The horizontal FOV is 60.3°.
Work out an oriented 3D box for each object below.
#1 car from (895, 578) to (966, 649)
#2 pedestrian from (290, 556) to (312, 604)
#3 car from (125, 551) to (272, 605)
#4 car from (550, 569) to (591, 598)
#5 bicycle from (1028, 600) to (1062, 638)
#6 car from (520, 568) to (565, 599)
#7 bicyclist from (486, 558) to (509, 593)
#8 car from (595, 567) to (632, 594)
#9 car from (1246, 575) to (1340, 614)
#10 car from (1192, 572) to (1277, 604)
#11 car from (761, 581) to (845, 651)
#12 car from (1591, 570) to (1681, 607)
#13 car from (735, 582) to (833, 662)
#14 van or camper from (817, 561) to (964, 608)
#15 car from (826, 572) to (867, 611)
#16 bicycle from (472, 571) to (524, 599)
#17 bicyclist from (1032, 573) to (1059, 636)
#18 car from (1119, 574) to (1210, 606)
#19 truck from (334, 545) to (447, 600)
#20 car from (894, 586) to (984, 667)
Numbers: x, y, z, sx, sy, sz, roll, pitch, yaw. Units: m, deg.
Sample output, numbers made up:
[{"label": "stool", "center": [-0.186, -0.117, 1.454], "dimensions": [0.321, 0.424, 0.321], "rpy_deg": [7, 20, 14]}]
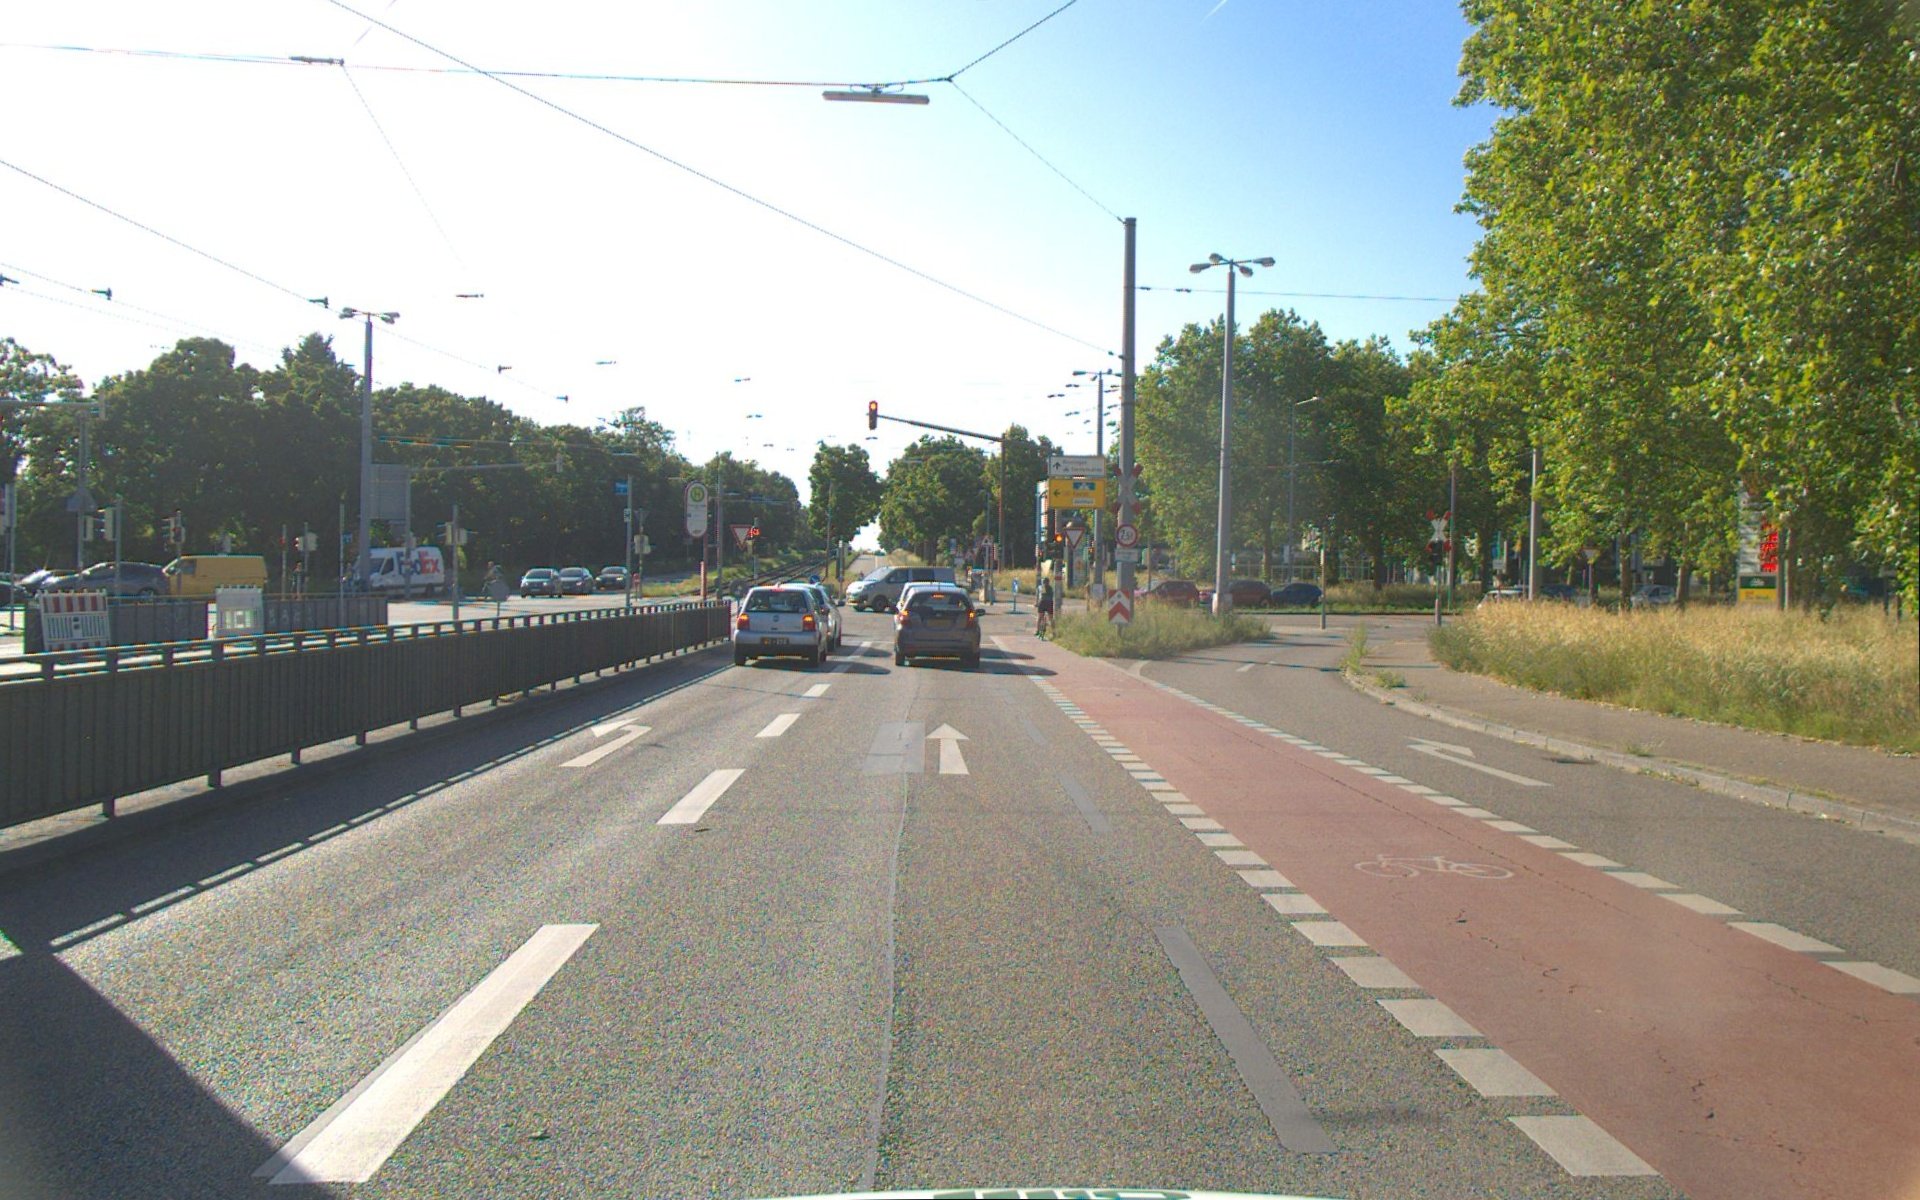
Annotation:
[{"label": "car", "center": [-0.706, 0.282, 39.605], "dimensions": [1.578, 1.589, 4.287], "rpy_deg": [1, 1, -1]}, {"label": "pedestrian", "center": [-28.301, -0.873, 71.035], "dimensions": [0.735, 2.049, 0.789], "rpy_deg": [0, 1, -13]}, {"label": "car", "center": [-29.848, -0.848, 64.837], "dimensions": [5.096, 1.912, 1.982], "rpy_deg": [2, 0, -28]}, {"label": "car", "center": [-21.939, -0.938, 93.290], "dimensions": [1.797, 1.575, 4.278], "rpy_deg": [1, 1, -7]}, {"label": "bicycle", "center": [2.402, 0.527, 46.892], "dimensions": [0.707, 1.006, 2.875], "rpy_deg": [2, 0, -1]}, {"label": "car", "center": [-21.526, -0.857, 85.438], "dimensions": [1.797, 1.575, 3.994], "rpy_deg": [1, 1, -7]}, {"label": "bicyclist", "center": [-22.245, -1.169, 79.511], "dimensions": [0.991, 1.676, 0.813], "rpy_deg": [1, 0, -19]}, {"label": "car", "center": [-22.114, -1.268, 105.577], "dimensions": [1.956, 1.632, 4.747], "rpy_deg": [2, 1, -8]}, {"label": "car", "center": [17.970, -0.309, 89.256], "dimensions": [4.625, 1.912, 1.986], "rpy_deg": [2, 0, -24]}, {"label": "car", "center": [13.544, -0.582, 81.625], "dimensions": [3.934, 1.557, 1.594], "rpy_deg": [0, 1, -24]}, {"label": "car", "center": [-3.575, 0.337, 38.204], "dimensions": [1.586, 1.482, 4.084], "rpy_deg": [2, 0, -1]}, {"label": "car", "center": [38.910, -0.638, 95.184], "dimensions": [4.823, 2.049, 1.986], "rpy_deg": [0, 1, -24]}, {"label": "car", "center": [-3.314, 0.394, 31.630], "dimensions": [1.586, 1.442, 3.350], "rpy_deg": [0, 0, -1]}, {"label": "van or camper", "center": [-2.902, -0.648, 69.662], "dimensions": [5.893, 1.860, 1.984], "rpy_deg": [1, 1, -26]}, {"label": "car", "center": [-6.197, -0.459, 90.610], "dimensions": [1.953, 2.049, 4.491], "rpy_deg": [2, 0, -1]}, {"label": "bicycle", "center": [-22.237, -0.720, 79.560], "dimensions": [2.360, 1.285, 0.813], "rpy_deg": [1, 1, -19]}, {"label": "bicyclist", "center": [2.420, 0.115, 46.811], "dimensions": [0.652, 1.746, 0.948], "rpy_deg": [2, 0, -2]}, {"label": "car", "center": [9.475, -0.456, 76.675], "dimensions": [3.952, 1.427, 1.597], "rpy_deg": [0, 1, -25]}, {"label": "truck", "center": [-28.514, -1.360, 83.112], "dimensions": [1.951, 2.610, 6.828], "rpy_deg": [1, 1, 14]}, {"label": "car", "center": [-0.459, 0.480, 32.973], "dimensions": [1.635, 1.487, 3.584], "rpy_deg": [1, 1, -3]}]
